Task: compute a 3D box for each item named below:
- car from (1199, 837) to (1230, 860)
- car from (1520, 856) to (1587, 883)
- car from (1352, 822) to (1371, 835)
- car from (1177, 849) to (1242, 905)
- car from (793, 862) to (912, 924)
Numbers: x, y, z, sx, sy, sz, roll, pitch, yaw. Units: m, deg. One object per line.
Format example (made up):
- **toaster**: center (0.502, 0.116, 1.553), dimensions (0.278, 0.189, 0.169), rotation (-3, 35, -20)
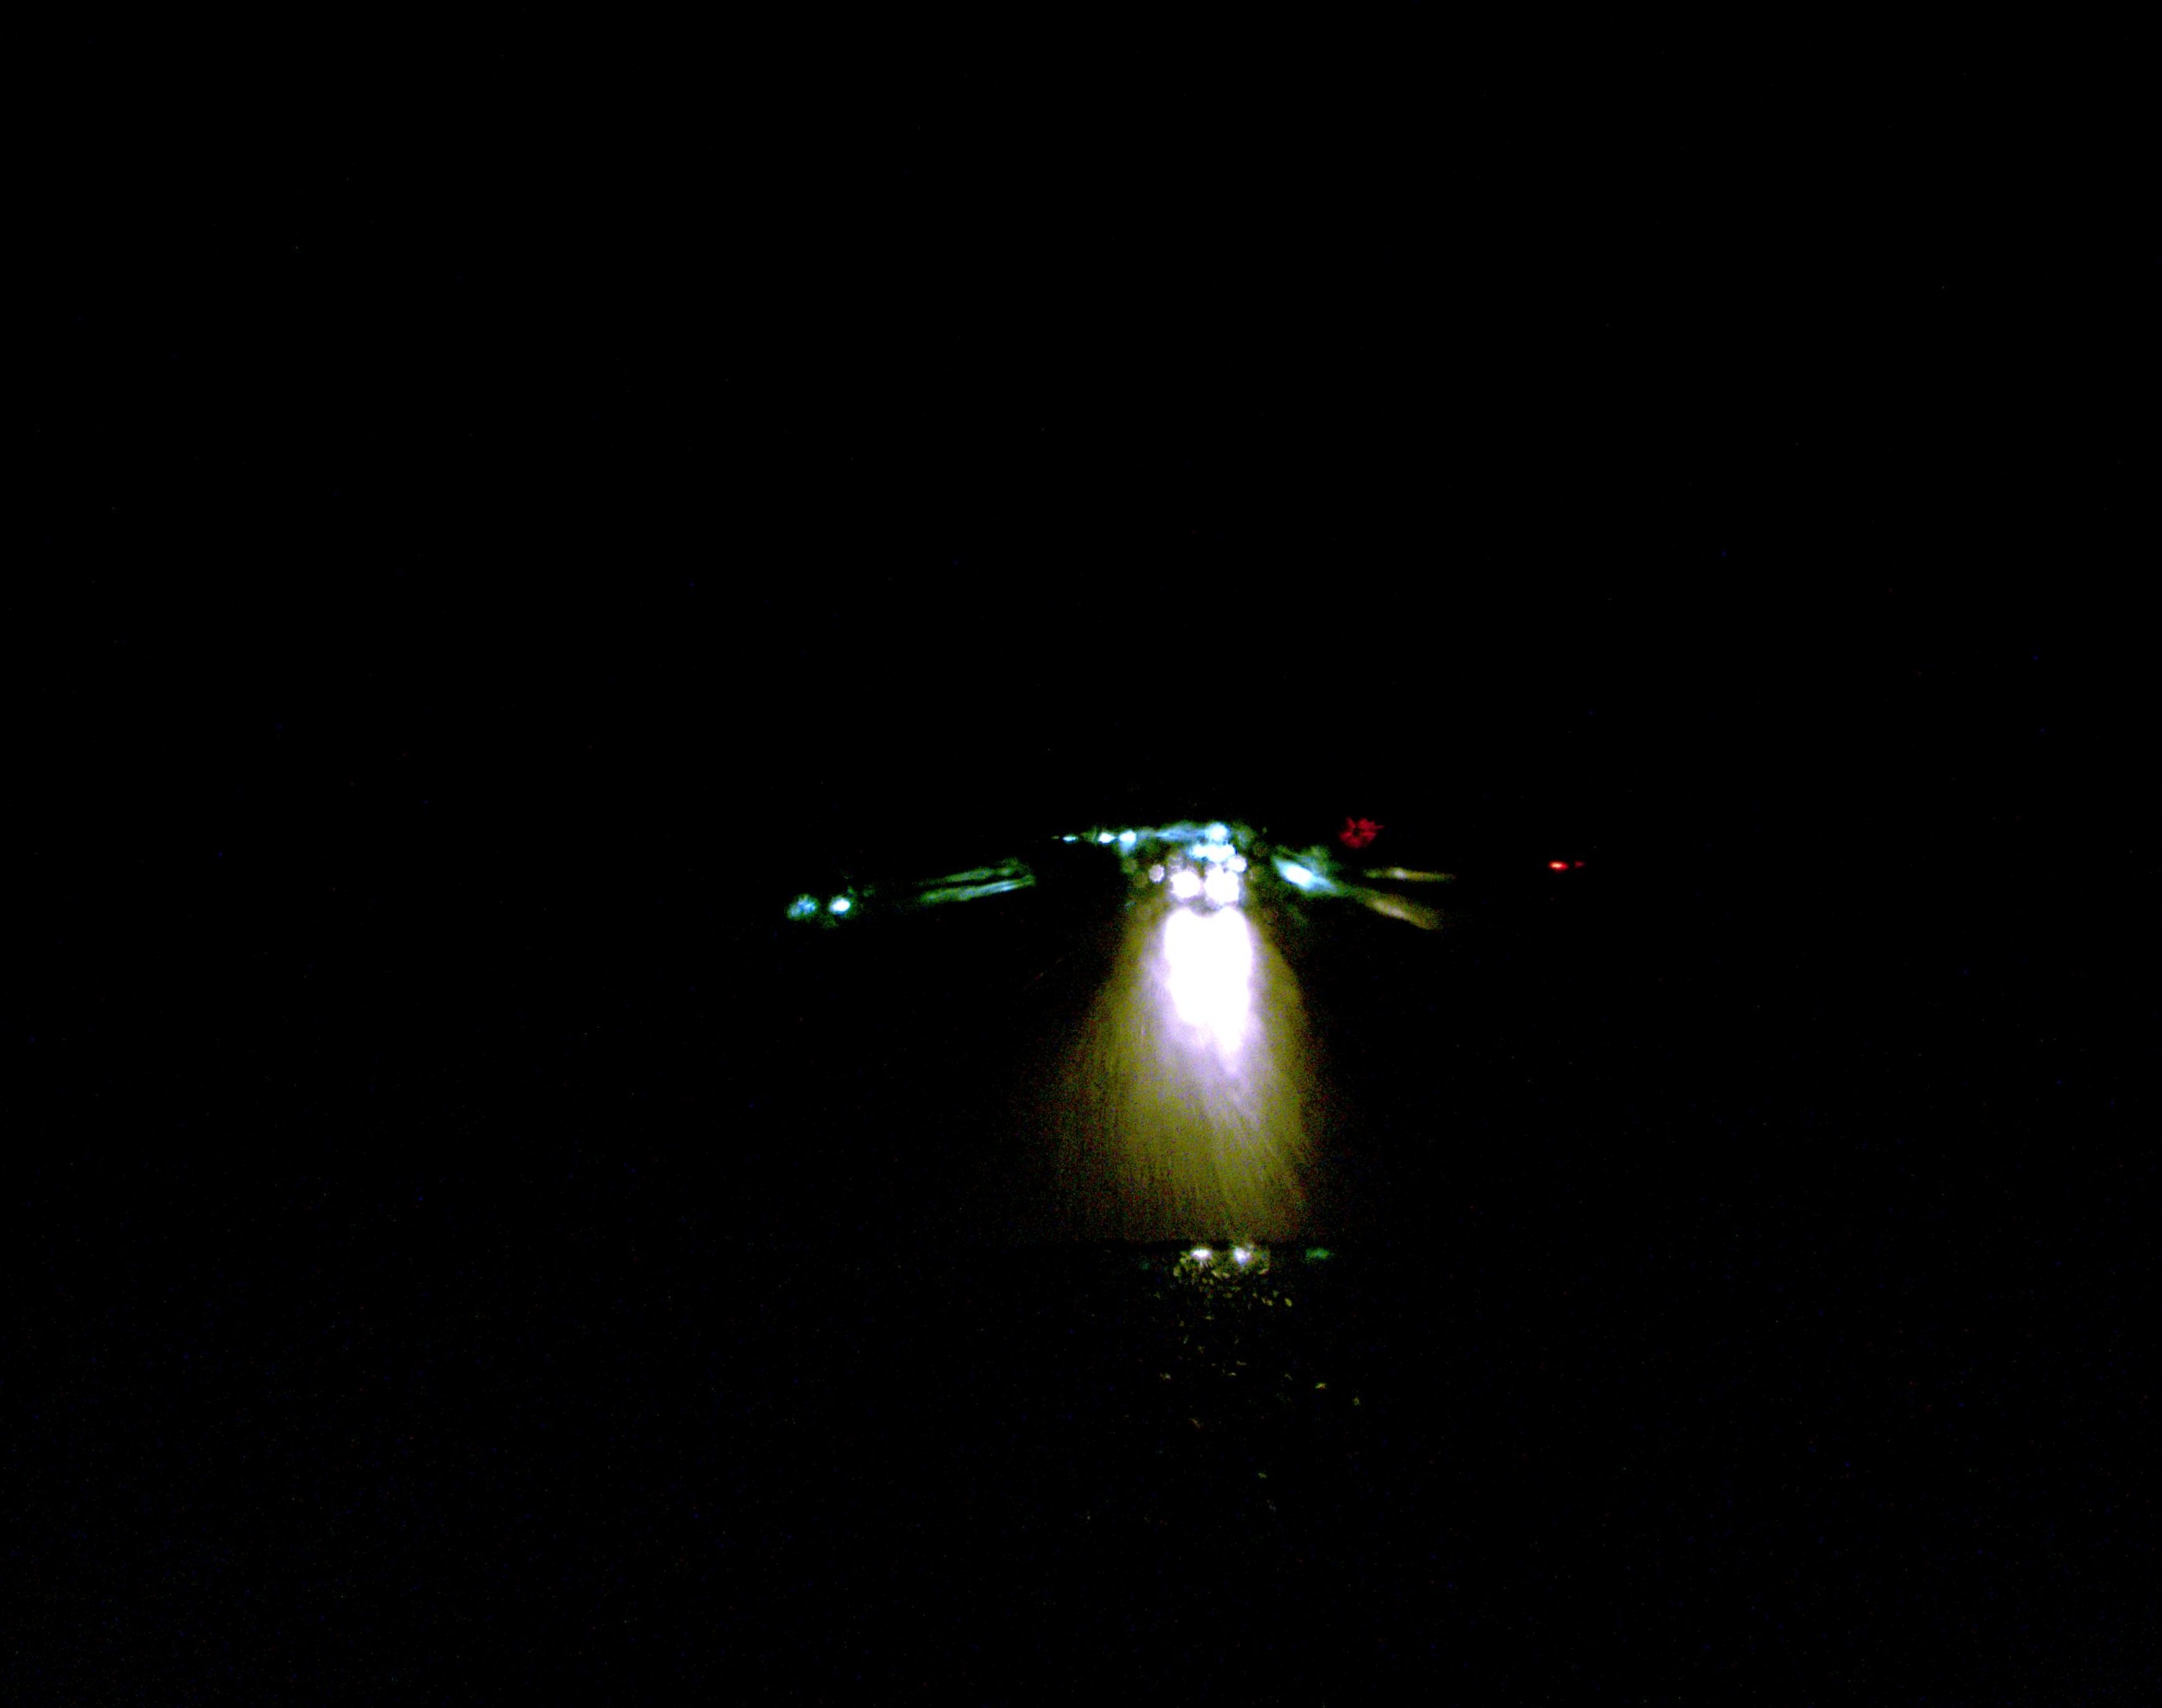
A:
- **car**: center (8.385, -0.374, 47.604), dimensions (1.758, 1.304, 4.088), rotation (-2, 1, 11)
- **car**: center (31.314, 0.984, 50.457), dimensions (1.745, 1.418, 4.096), rotation (-3, 4, -3)
- **car**: center (35.978, -3.272, 97.512), dimensions (1.761, 1.483, 4.046), rotation (-1, 5, 14)
- **car**: center (3.833, 0.594, 22.253), dimensions (1.685, 1.442, 3.645), rotation (0, 1, 12)
- **car**: center (-7.900, 1.305, 26.709), dimensions (1.739, 1.674, 4.124), rotation (-5, 1, 20)
